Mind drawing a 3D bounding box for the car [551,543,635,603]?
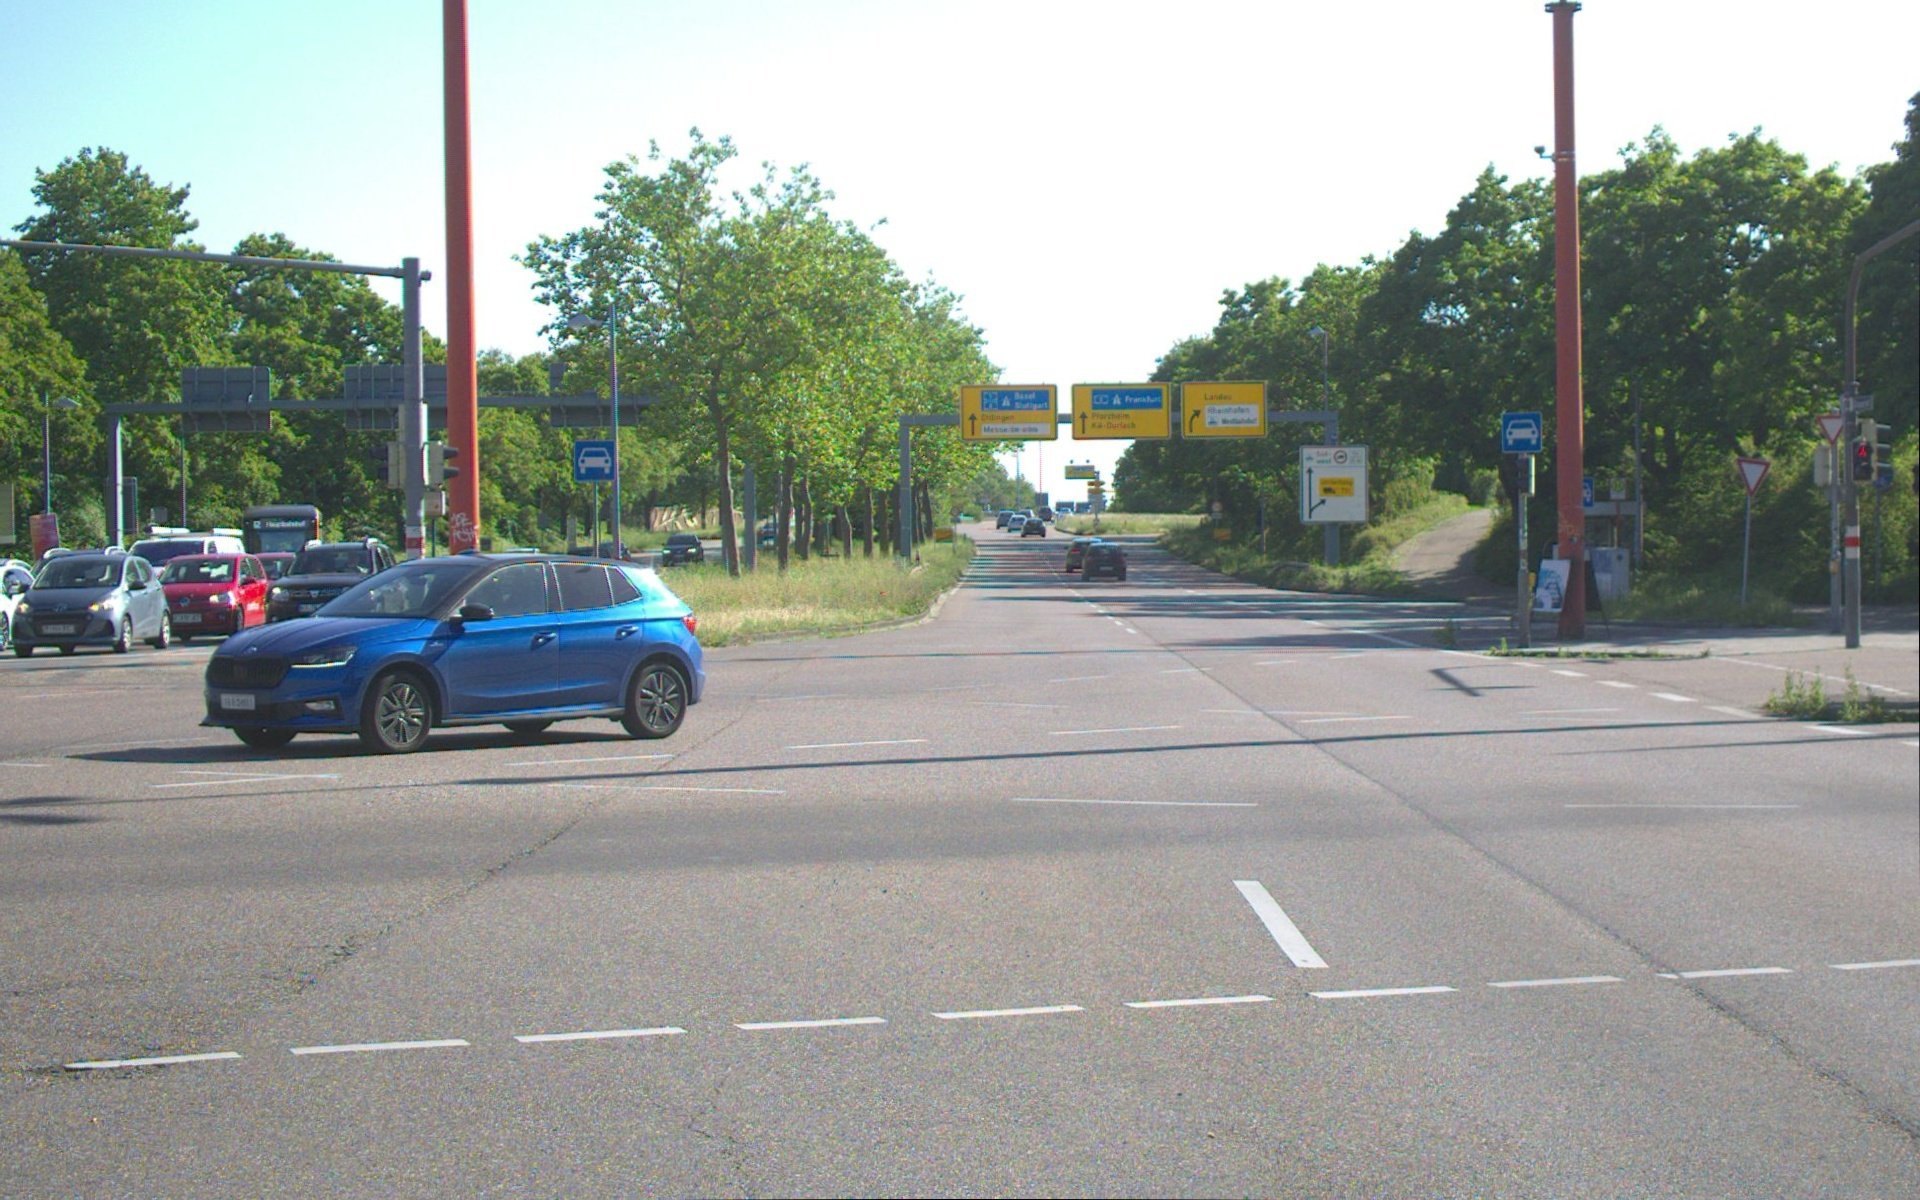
[{"bbox_3d":[-10.089,-0.762,94.720,1.885,1.538,4.000,-2,1,-1],"label":"car"}]

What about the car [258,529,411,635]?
[{"bbox_3d":[-10.208,-0.328,56.367,1.793,1.620,4.144,-2,1,-1],"label":"car"}]

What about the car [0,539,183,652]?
[{"bbox_3d":[-13.214,-0.099,52.291,1.874,1.545,4.028,-2,1,-1],"label":"car"}]

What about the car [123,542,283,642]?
[{"bbox_3d":[-12.862,-0.159,58.629,1.875,1.547,4.000,-4,1,-2],"label":"car"}]

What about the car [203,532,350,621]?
[{"bbox_3d":[-12.801,-0.455,64.626,1.901,1.624,4.000,0,1,1],"label":"car"}]

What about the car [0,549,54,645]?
[{"bbox_3d":[-16.527,-0.051,57.282,1.901,1.549,4.000,-2,1,-2],"label":"car"}]

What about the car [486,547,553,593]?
[{"bbox_3d":[-15.664,-1.088,122.354,1.885,1.538,4.000,-2,1,-1],"label":"car"}]

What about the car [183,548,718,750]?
[{"bbox_3d":[-3.814,0.339,26.199,1.578,1.415,3.899,1,1,42],"label":"car"}]

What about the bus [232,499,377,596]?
[{"bbox_3d":[-23.204,-1.845,122.391,2.646,3.250,12.536,1,1,1],"label":"bus"}]

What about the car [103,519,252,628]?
[{"bbox_3d":[-16.062,-0.569,70.830,1.961,2.147,5.082,-1,1,-1],"label":"car"}]

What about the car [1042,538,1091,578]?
[{"bbox_3d":[4.702,-1.860,152.707,1.993,1.727,4.000,1,1,-1],"label":"car"}]

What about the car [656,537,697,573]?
[{"bbox_3d":[-14.908,-2.369,181.057,1.837,1.831,3.961,-1,1,-1],"label":"car"}]

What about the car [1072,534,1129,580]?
[{"bbox_3d":[5.441,-1.654,133.632,1.993,1.727,4.000,1,1,-1],"label":"car"}]
